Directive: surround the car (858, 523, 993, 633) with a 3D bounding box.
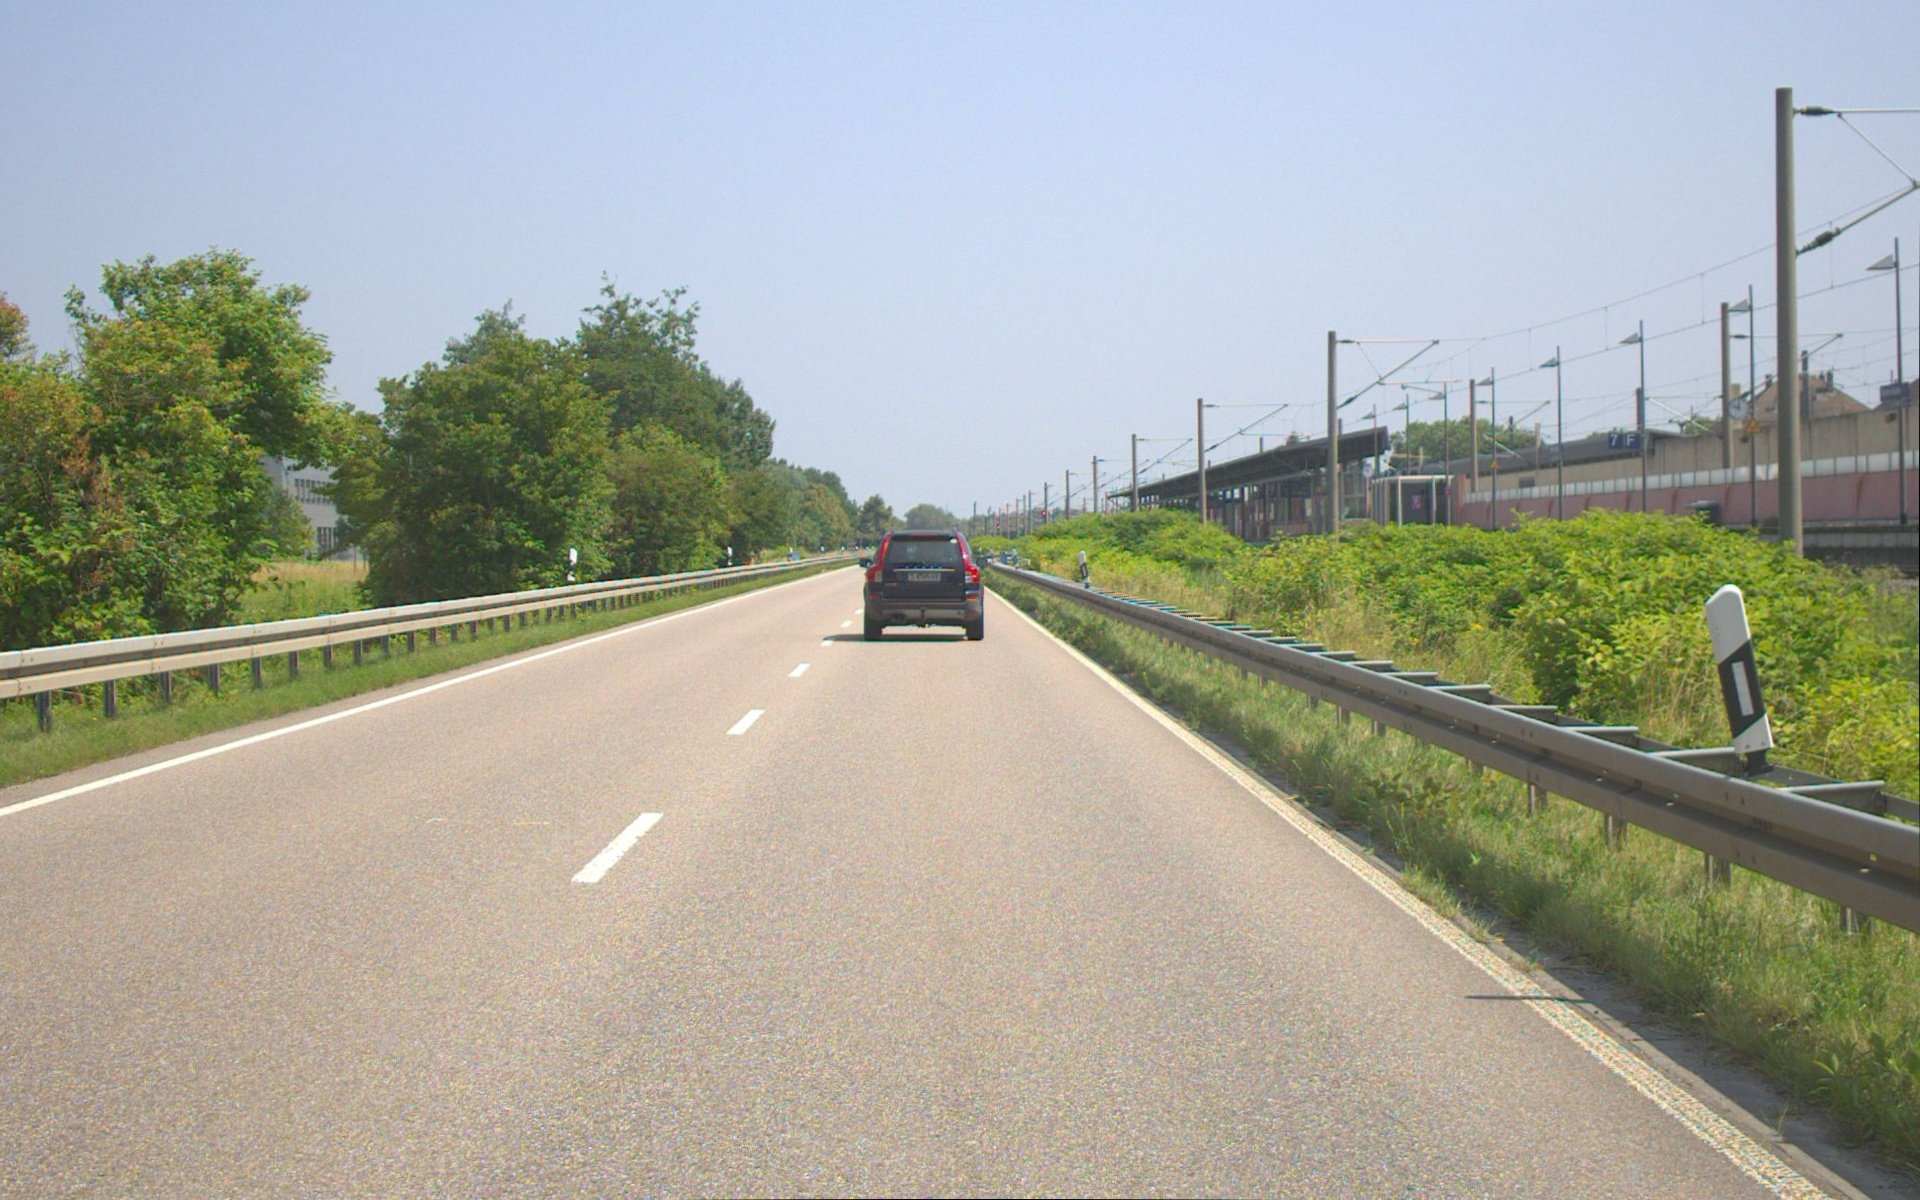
[{"bbox_3d":[-0.582,-0.371,54.598,1.993,1.694,4.001,0,1,-3],"label":"car"}]
